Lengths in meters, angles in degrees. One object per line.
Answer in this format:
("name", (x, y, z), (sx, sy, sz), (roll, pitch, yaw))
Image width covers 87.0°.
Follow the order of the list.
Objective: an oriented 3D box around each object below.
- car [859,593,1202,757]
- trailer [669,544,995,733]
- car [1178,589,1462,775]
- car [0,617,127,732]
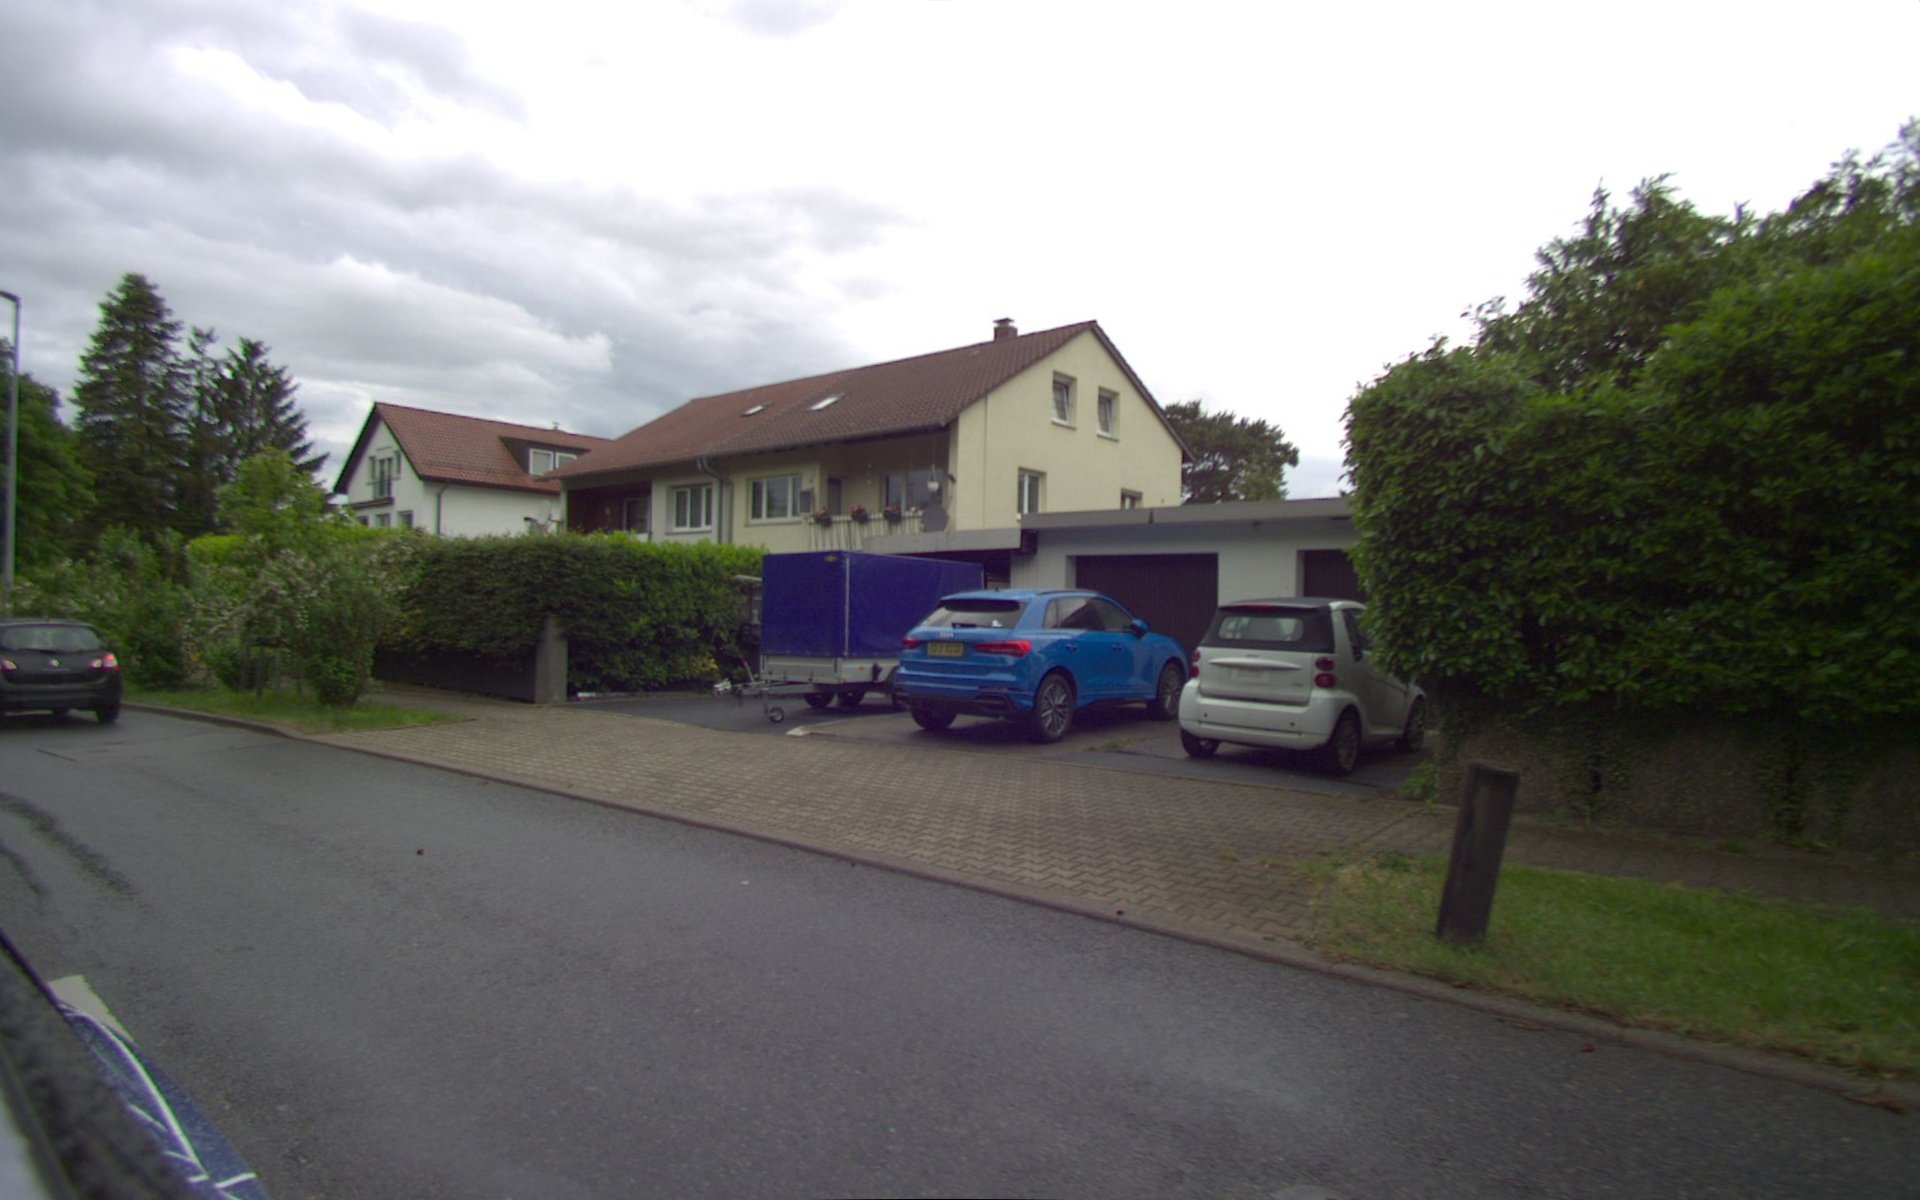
("car", (1.000, 0.725, 11.934), (2.049, 1.551, 4.197), (-1, -1, 38))
("trailer", (-1.590, 0.458, 14.111), (1.812, 2.188, 4.576), (-1, -1, 38))
("car", (3.733, 0.684, 10.185), (1.728, 1.530, 3.370), (-1, -1, 38))
("car", (-13.764, 1.016, 14.637), (3.885, 1.489, 1.570), (-1, -2, 34))
